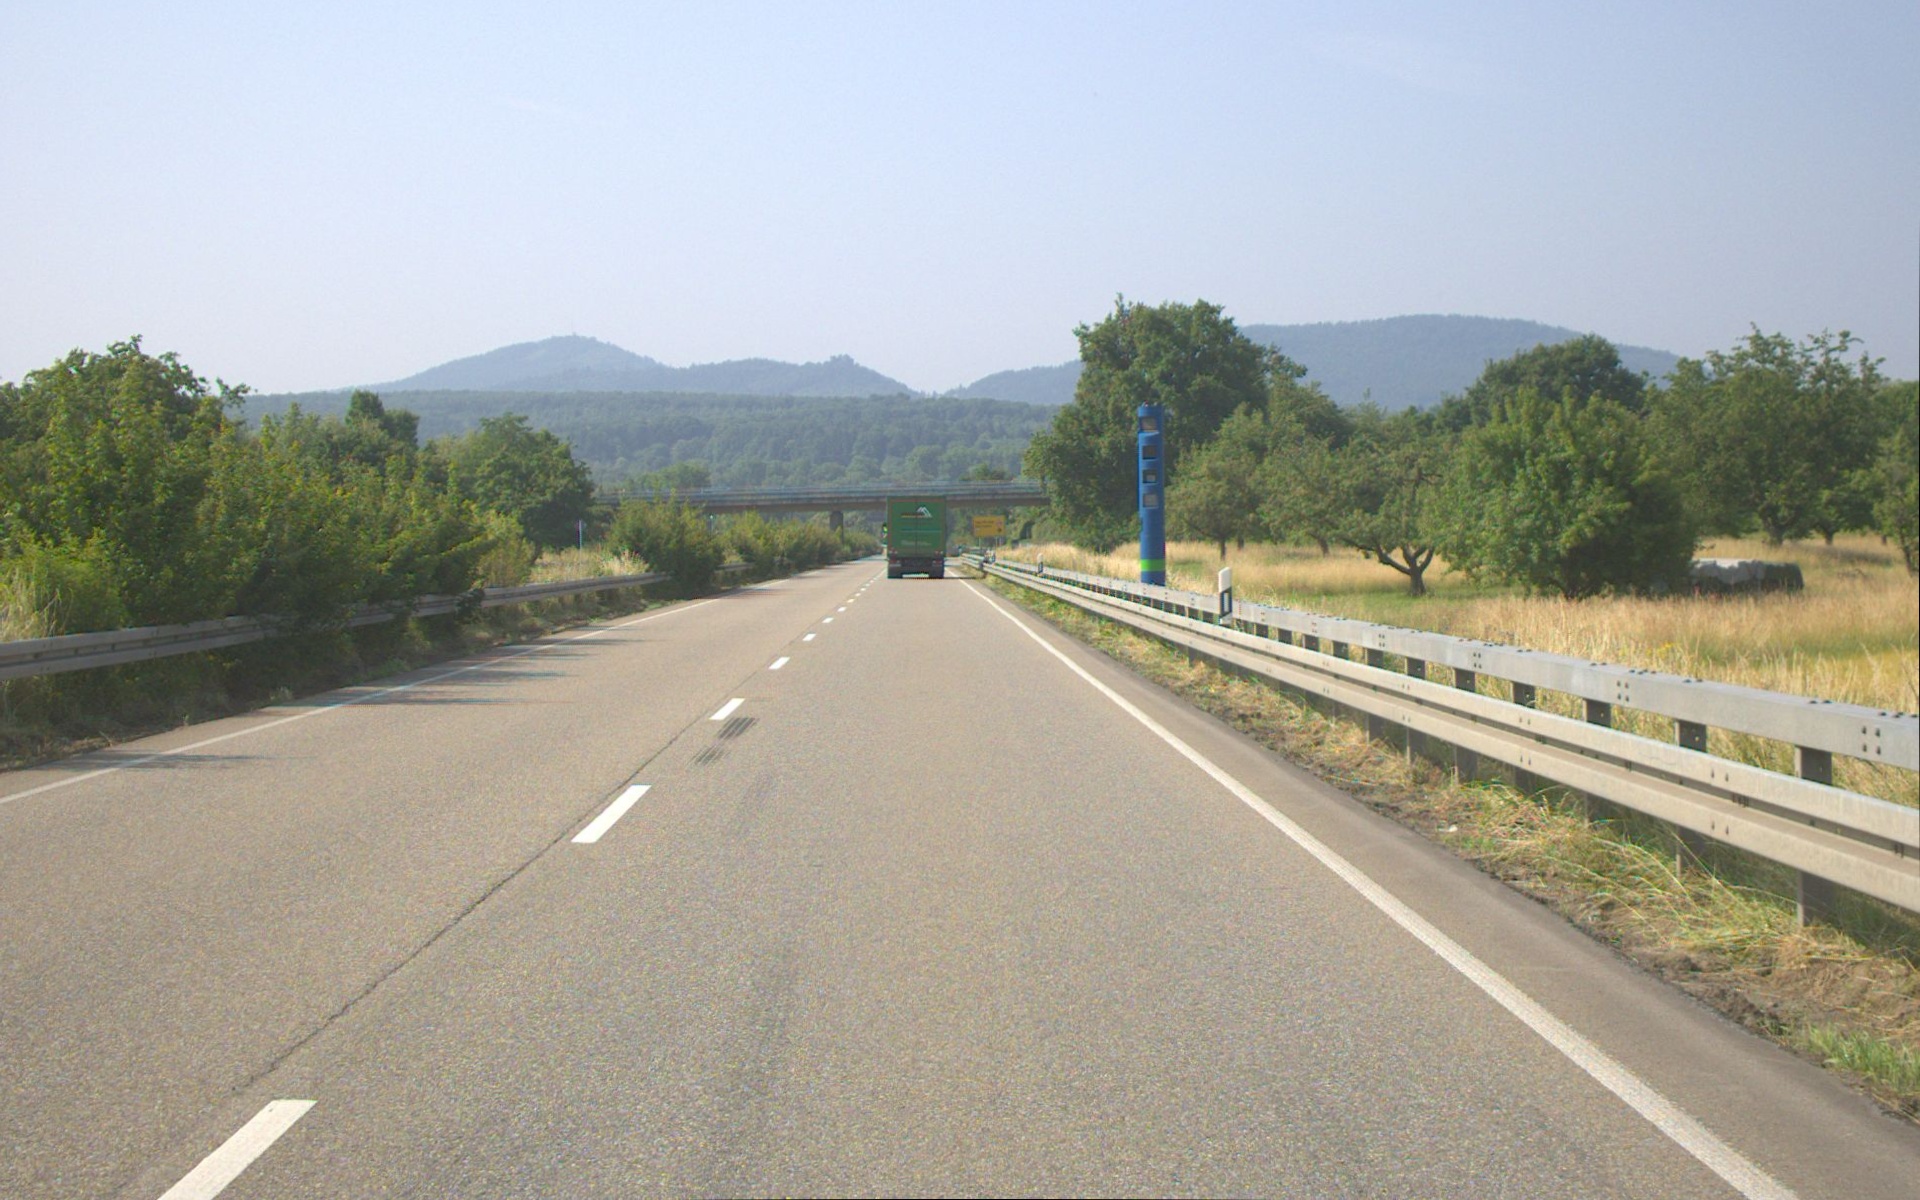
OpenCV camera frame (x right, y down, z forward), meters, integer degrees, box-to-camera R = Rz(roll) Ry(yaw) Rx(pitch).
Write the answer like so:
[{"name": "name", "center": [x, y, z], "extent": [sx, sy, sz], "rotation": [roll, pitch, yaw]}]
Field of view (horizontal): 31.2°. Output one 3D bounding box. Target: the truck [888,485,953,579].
[{"name": "truck", "center": [-1.733, -3.106, 153.078], "extent": [2.722, 3.952, 10.417], "rotation": [1, 2, 0]}]
